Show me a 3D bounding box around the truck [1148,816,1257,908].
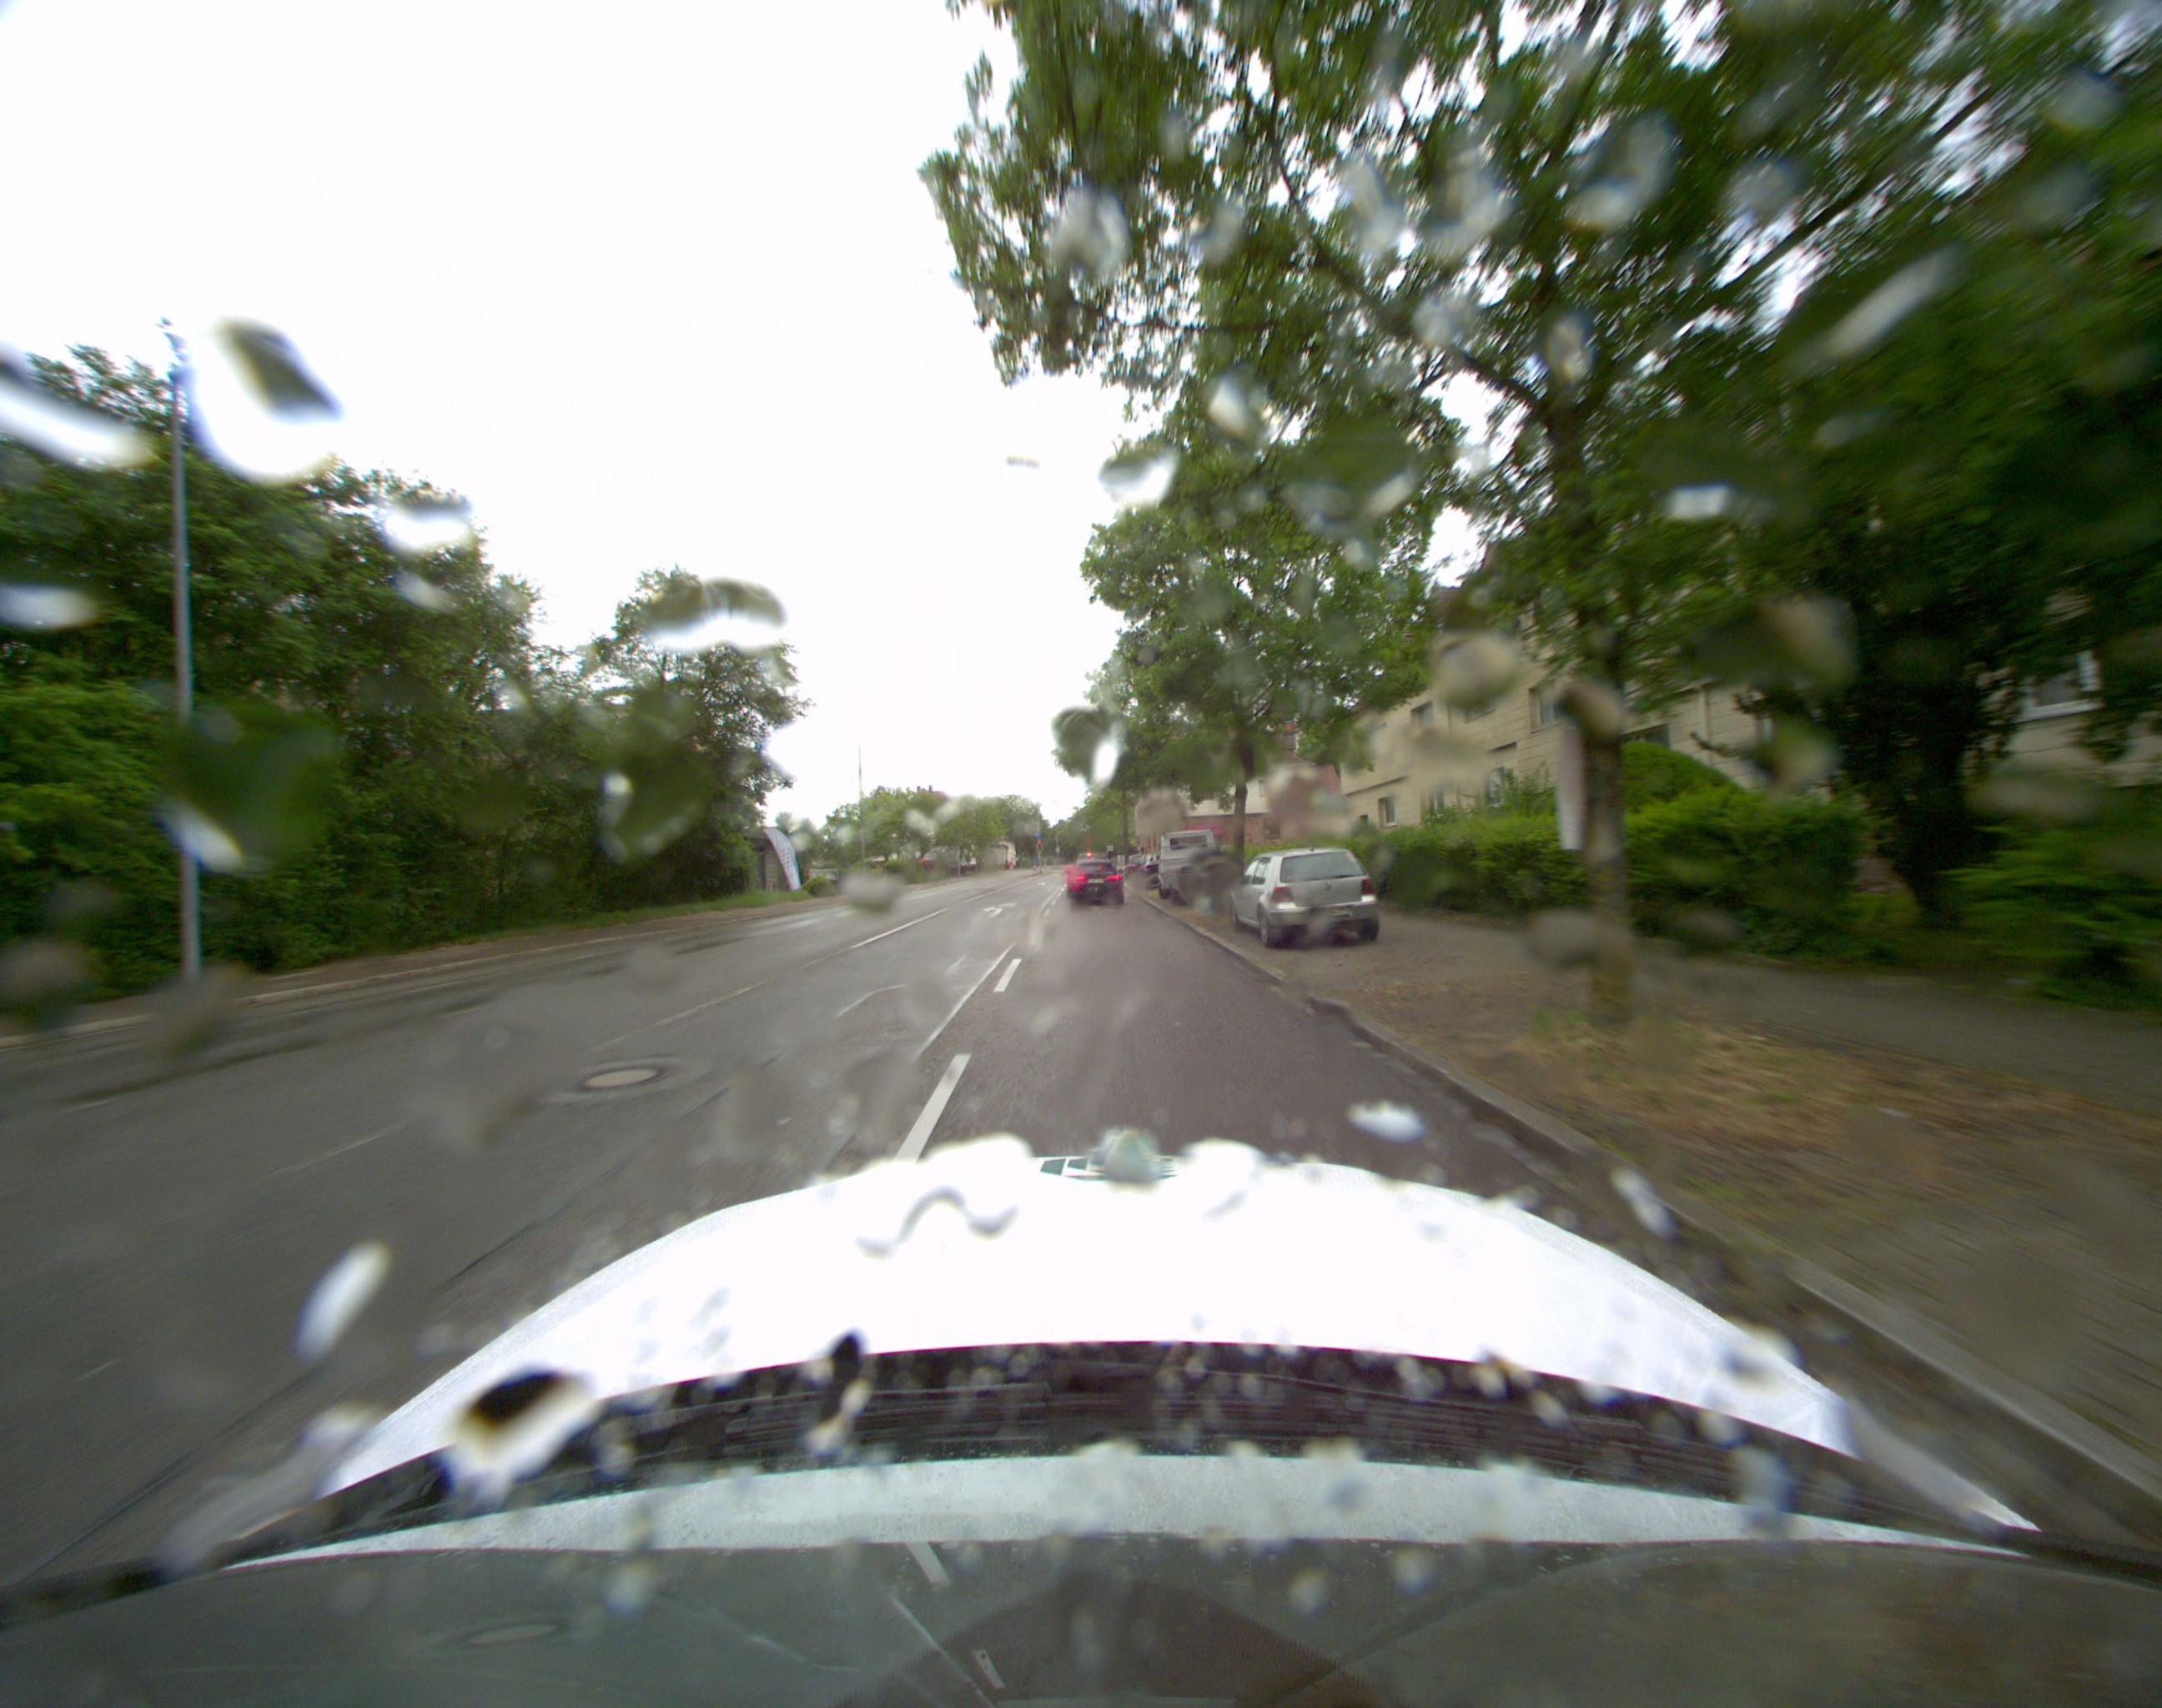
[{"bbox_3d":[3.468,0.234,24.668,2.074,2.221,6.499,-5,-1,-1],"label":"truck"}]

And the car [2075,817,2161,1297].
[{"bbox_3d":[3.960,0.513,0.260,1.683,1.389,4.497,-5,0,-1],"label":"car"}]

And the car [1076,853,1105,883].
[{"bbox_3d":[0.571,0.889,53.538,1.778,1.817,3.998,-2,0,-1],"label":"car"}]

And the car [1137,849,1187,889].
[{"bbox_3d":[3.521,0.643,35.996,1.708,1.498,4.183,-5,-1,1],"label":"car"}]

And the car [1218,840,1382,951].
[{"bbox_3d":[3.466,0.590,13.650,1.596,1.436,4.022,-5,0,1],"label":"car"}]

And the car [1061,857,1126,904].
[{"bbox_3d":[0.356,0.883,28.484,2.058,1.446,4.480,-1,-1,-1],"label":"car"}]

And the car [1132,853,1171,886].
[{"bbox_3d":[3.578,0.759,41.981,1.599,1.472,3.856,-5,0,1],"label":"car"}]

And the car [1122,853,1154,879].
[{"bbox_3d":[3.598,0.738,51.505,1.579,1.490,3.625,-5,0,-1],"label":"car"}]
